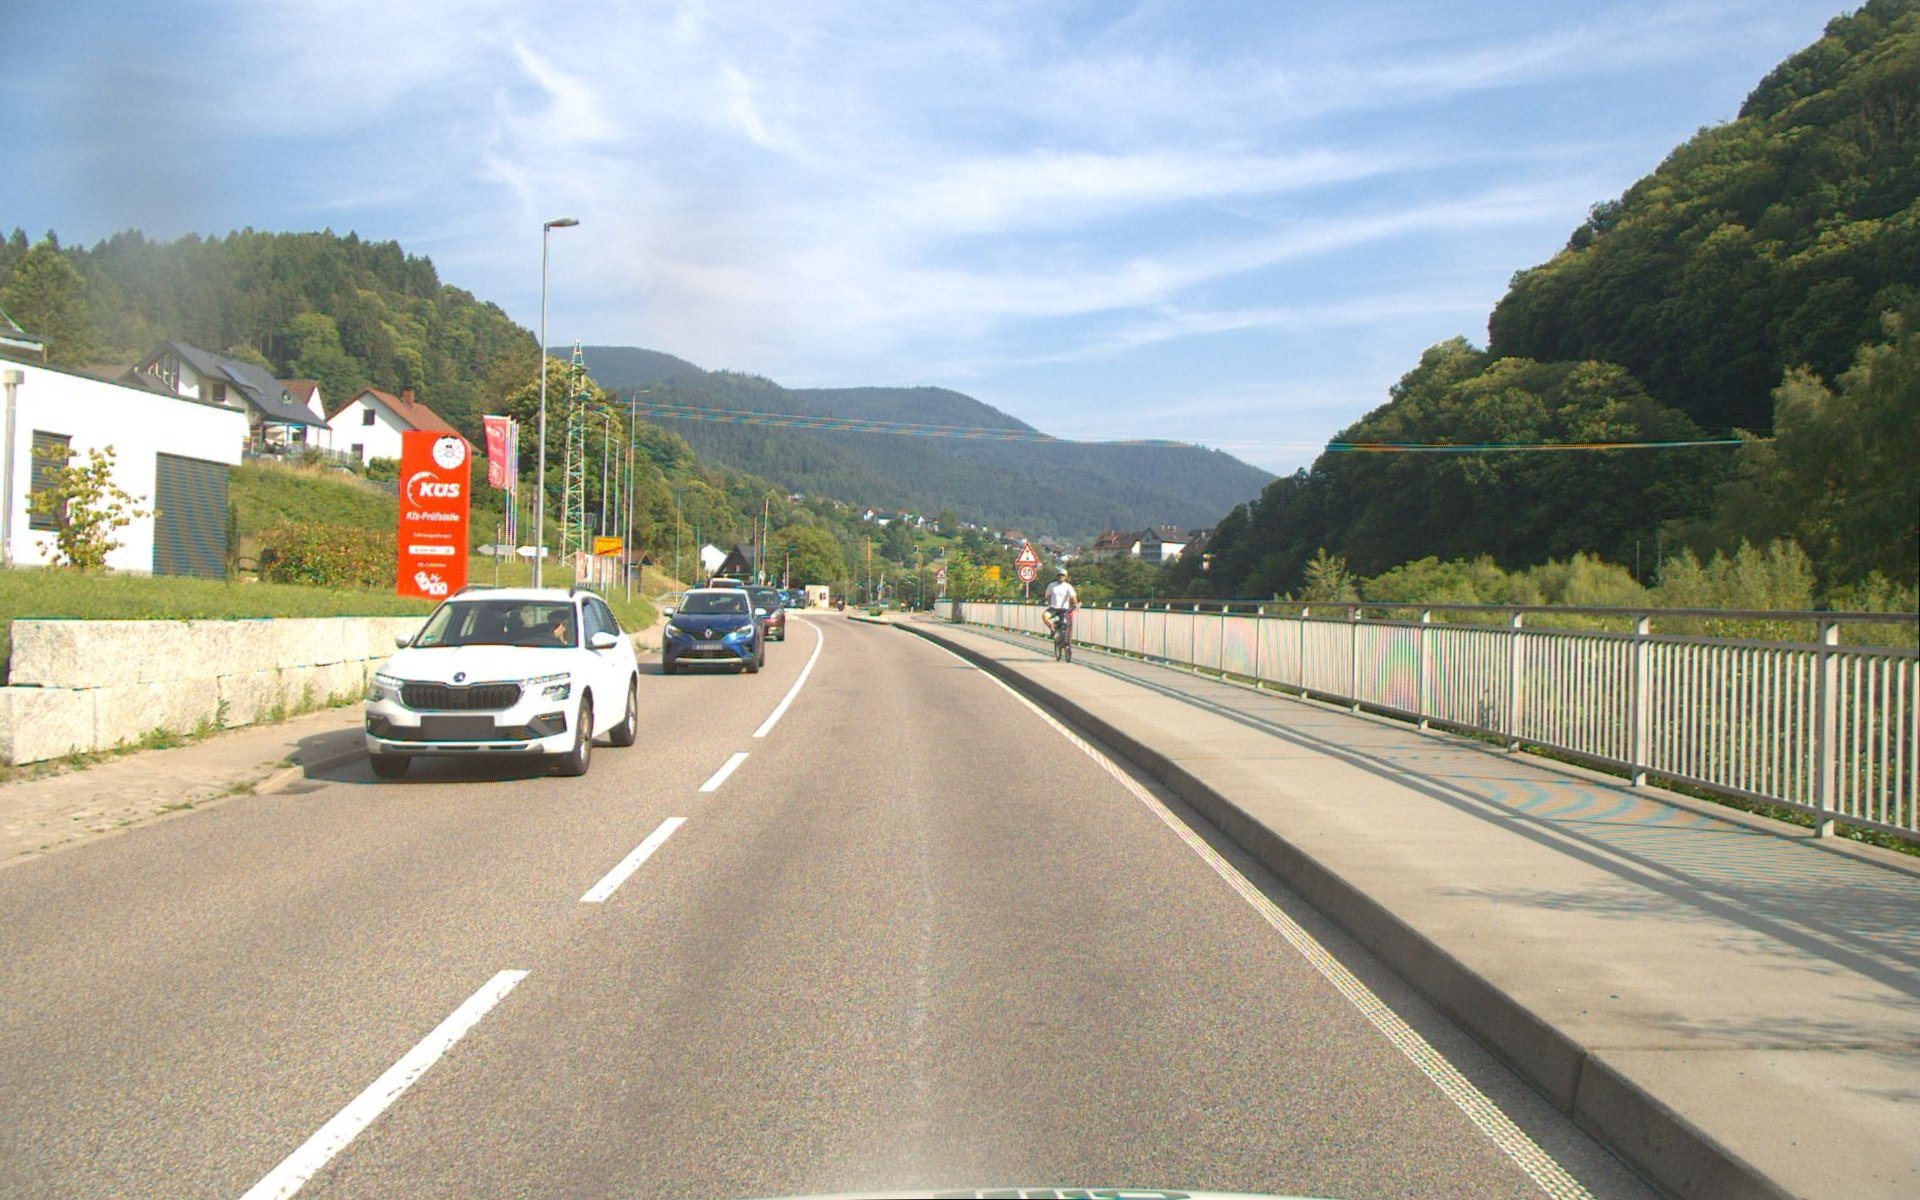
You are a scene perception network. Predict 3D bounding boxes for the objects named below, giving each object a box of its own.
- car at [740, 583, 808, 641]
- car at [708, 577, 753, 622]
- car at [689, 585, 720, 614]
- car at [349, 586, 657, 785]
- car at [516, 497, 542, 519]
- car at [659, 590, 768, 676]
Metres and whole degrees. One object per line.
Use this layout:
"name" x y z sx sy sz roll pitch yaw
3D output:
"car" -5.572 0.336 49.986 1.761 1.646 4.460 1 0 -3
"car" -10.564 -0.040 76.503 1.860 1.920 5.288 2 0 -7
"car" -15.062 -0.045 97.562 1.674 1.611 4.151 2 0 -8
"car" -3.913 0.652 14.874 1.714 1.530 4.189 0 0 -2
"car" -37.101 -7.883 142.456 1.743 1.542 4.262 5 0 -10
"car" -4.678 0.581 31.842 1.709 1.553 3.997 0 0 -3
